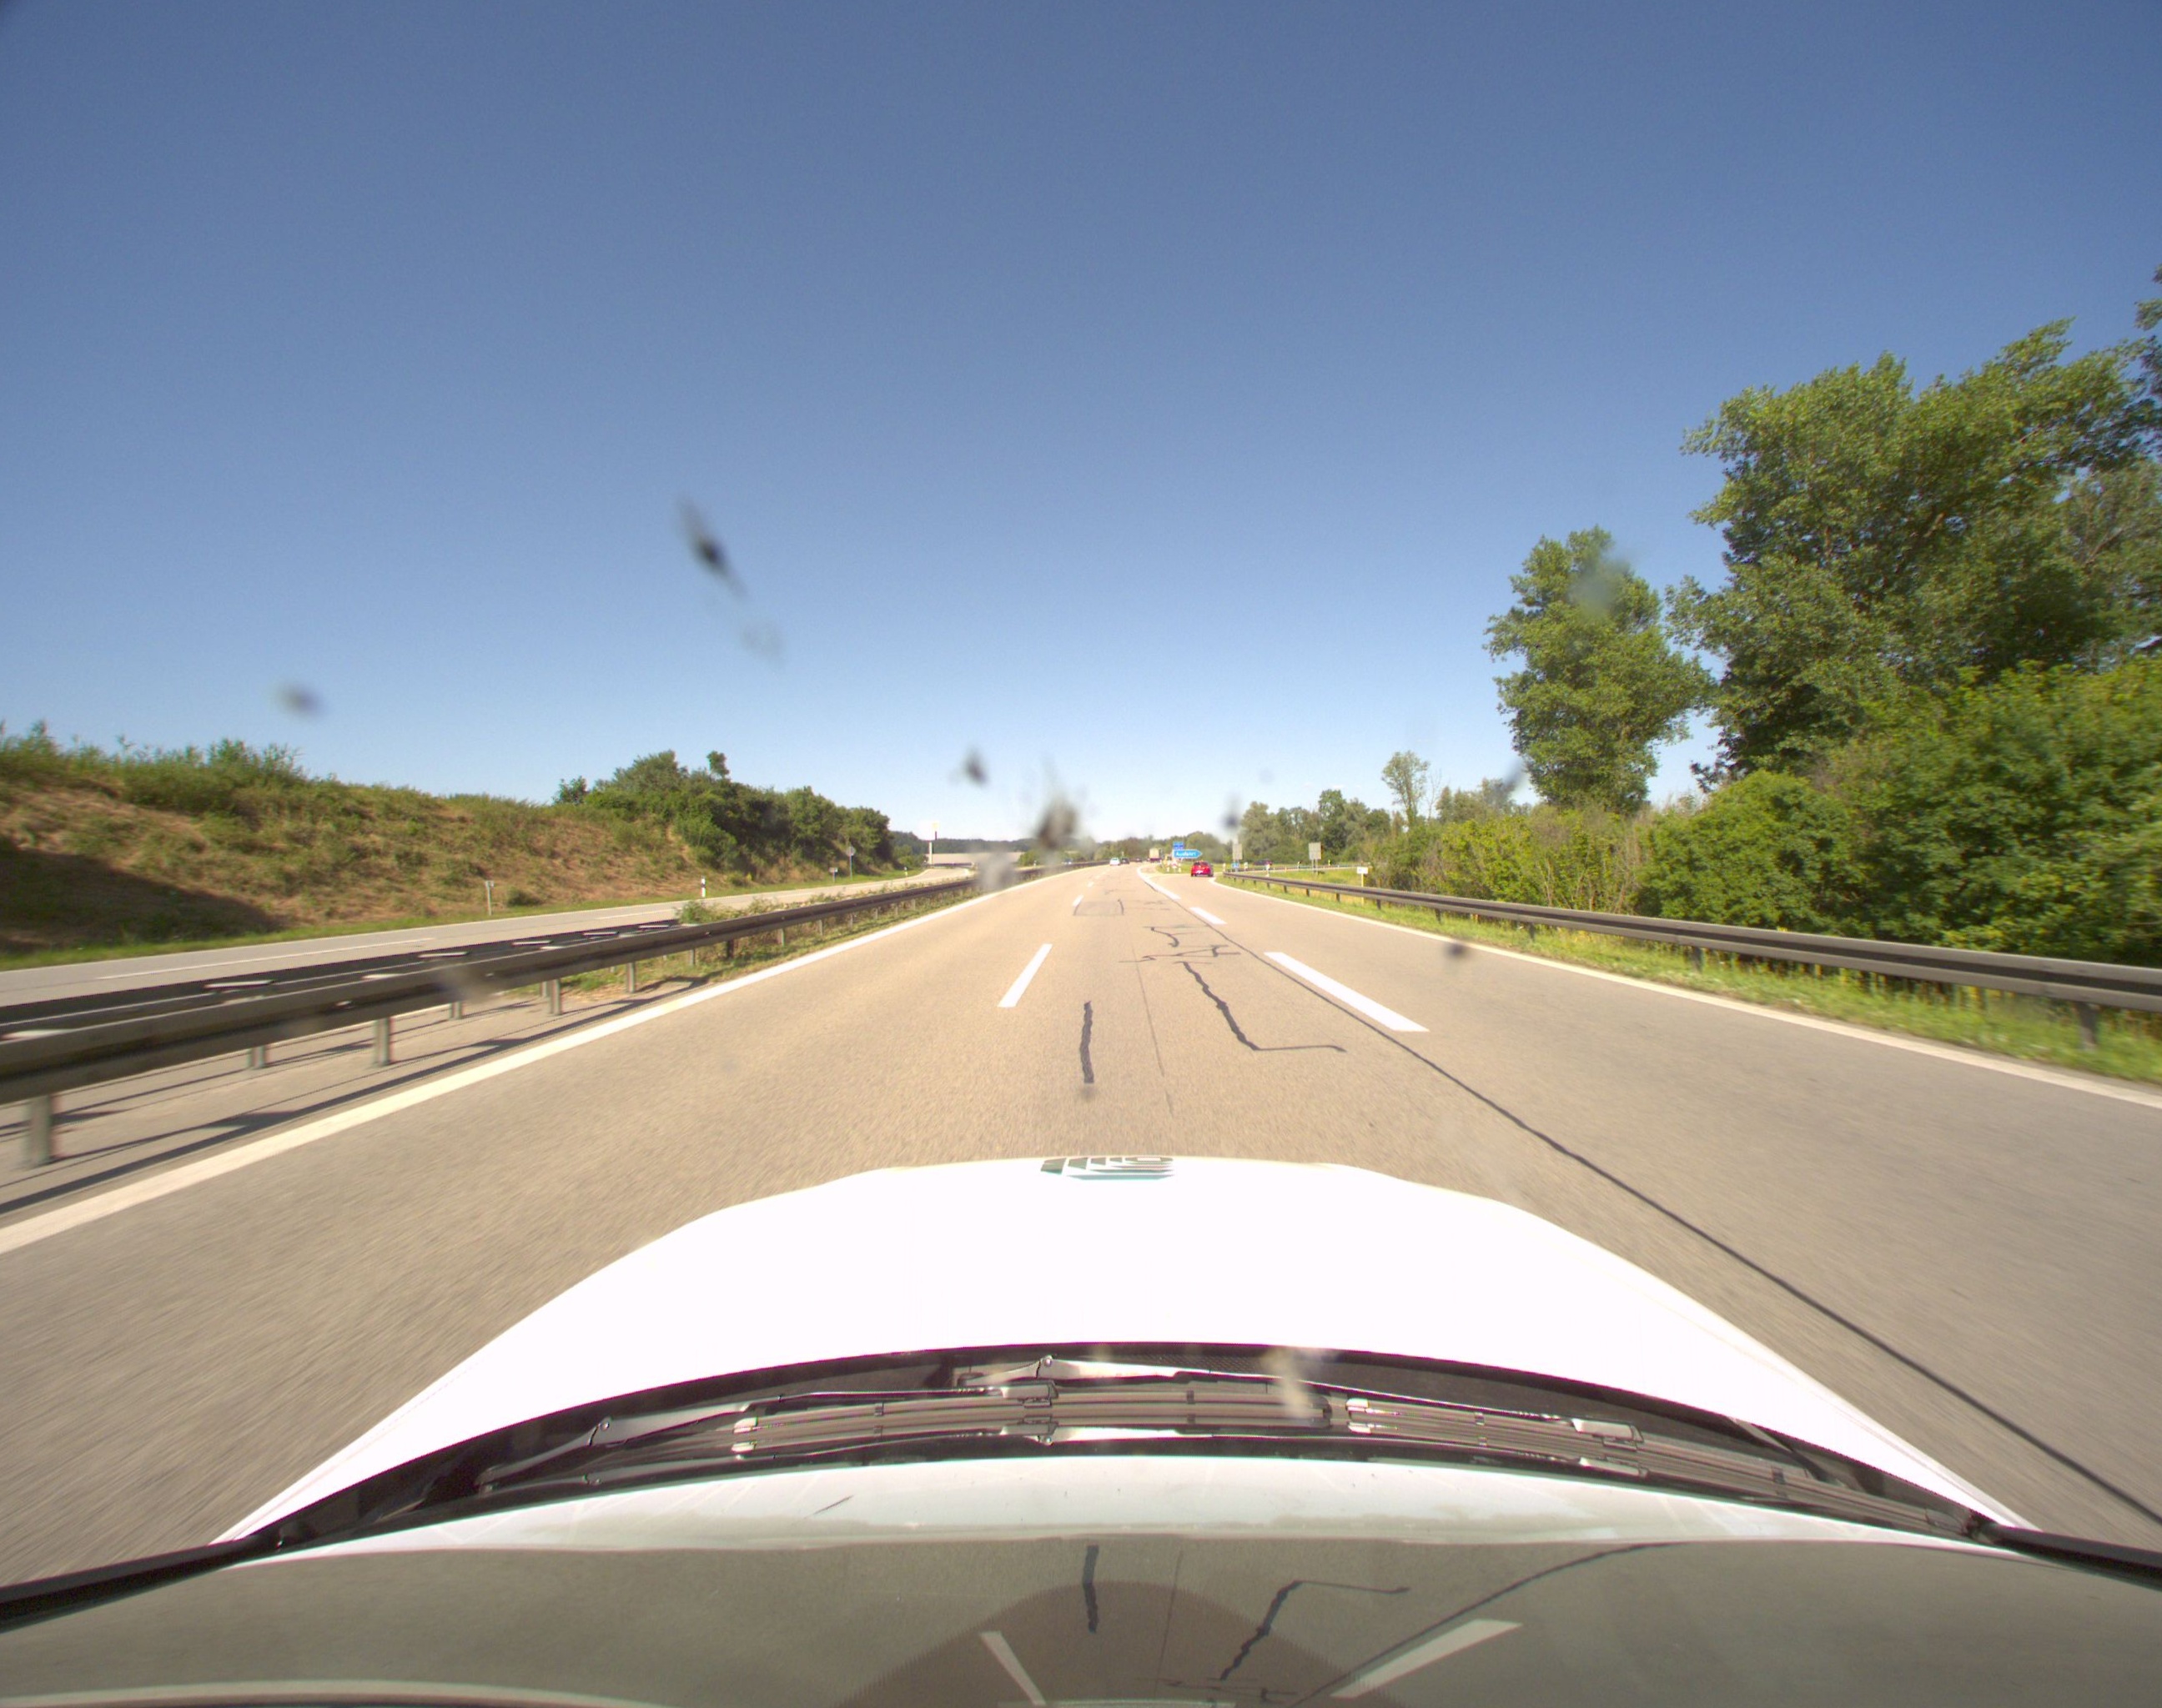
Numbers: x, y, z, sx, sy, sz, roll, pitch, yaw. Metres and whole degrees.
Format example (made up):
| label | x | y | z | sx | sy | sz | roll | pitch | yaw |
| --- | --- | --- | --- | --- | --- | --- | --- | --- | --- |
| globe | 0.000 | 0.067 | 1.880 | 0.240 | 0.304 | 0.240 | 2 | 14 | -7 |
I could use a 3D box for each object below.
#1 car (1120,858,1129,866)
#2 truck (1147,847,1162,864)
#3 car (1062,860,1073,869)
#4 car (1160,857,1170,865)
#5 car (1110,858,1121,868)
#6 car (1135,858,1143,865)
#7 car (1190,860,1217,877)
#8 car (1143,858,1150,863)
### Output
| label | x | y | z | sx | sy | sz | roll | pitch | yaw |
| --- | --- | --- | --- | --- | --- | --- | --- | --- | --- |
| car | 9.436 | 1.750 | 177.027 | 1.986 | 1.750 | 4.001 | -1 | 0 | 2 |
| truck | 20.315 | 0.486 | 225.943 | 3.820 | 4.397 | 11.484 | -3 | 0 | 4 |
| car | -2.627 | 2.101 | 159.955 | 1.872 | 1.625 | 4.001 | -3 | -3 | 2 |
| car | 19.301 | 1.699 | 188.147 | 1.986 | 1.750 | 4.001 | -1 | 0 | 2 |
| car | 6.452 | 1.739 | 153.490 | 2.054 | 1.625 | 4.001 | -3 | -3 | 2 |
| car | 15.576 | 1.999 | 218.993 | 1.986 | 1.750 | 4.001 | -1 | 0 | 2 |
| car | 11.167 | 1.333 | 74.145 | 1.770 | 1.431 | 4.017 | 1 | -1 | 17 |
| car | 19.914 | 1.984 | 248.444 | 1.985 | 1.750 | 4.004 | -1 | 0 | 4 |
